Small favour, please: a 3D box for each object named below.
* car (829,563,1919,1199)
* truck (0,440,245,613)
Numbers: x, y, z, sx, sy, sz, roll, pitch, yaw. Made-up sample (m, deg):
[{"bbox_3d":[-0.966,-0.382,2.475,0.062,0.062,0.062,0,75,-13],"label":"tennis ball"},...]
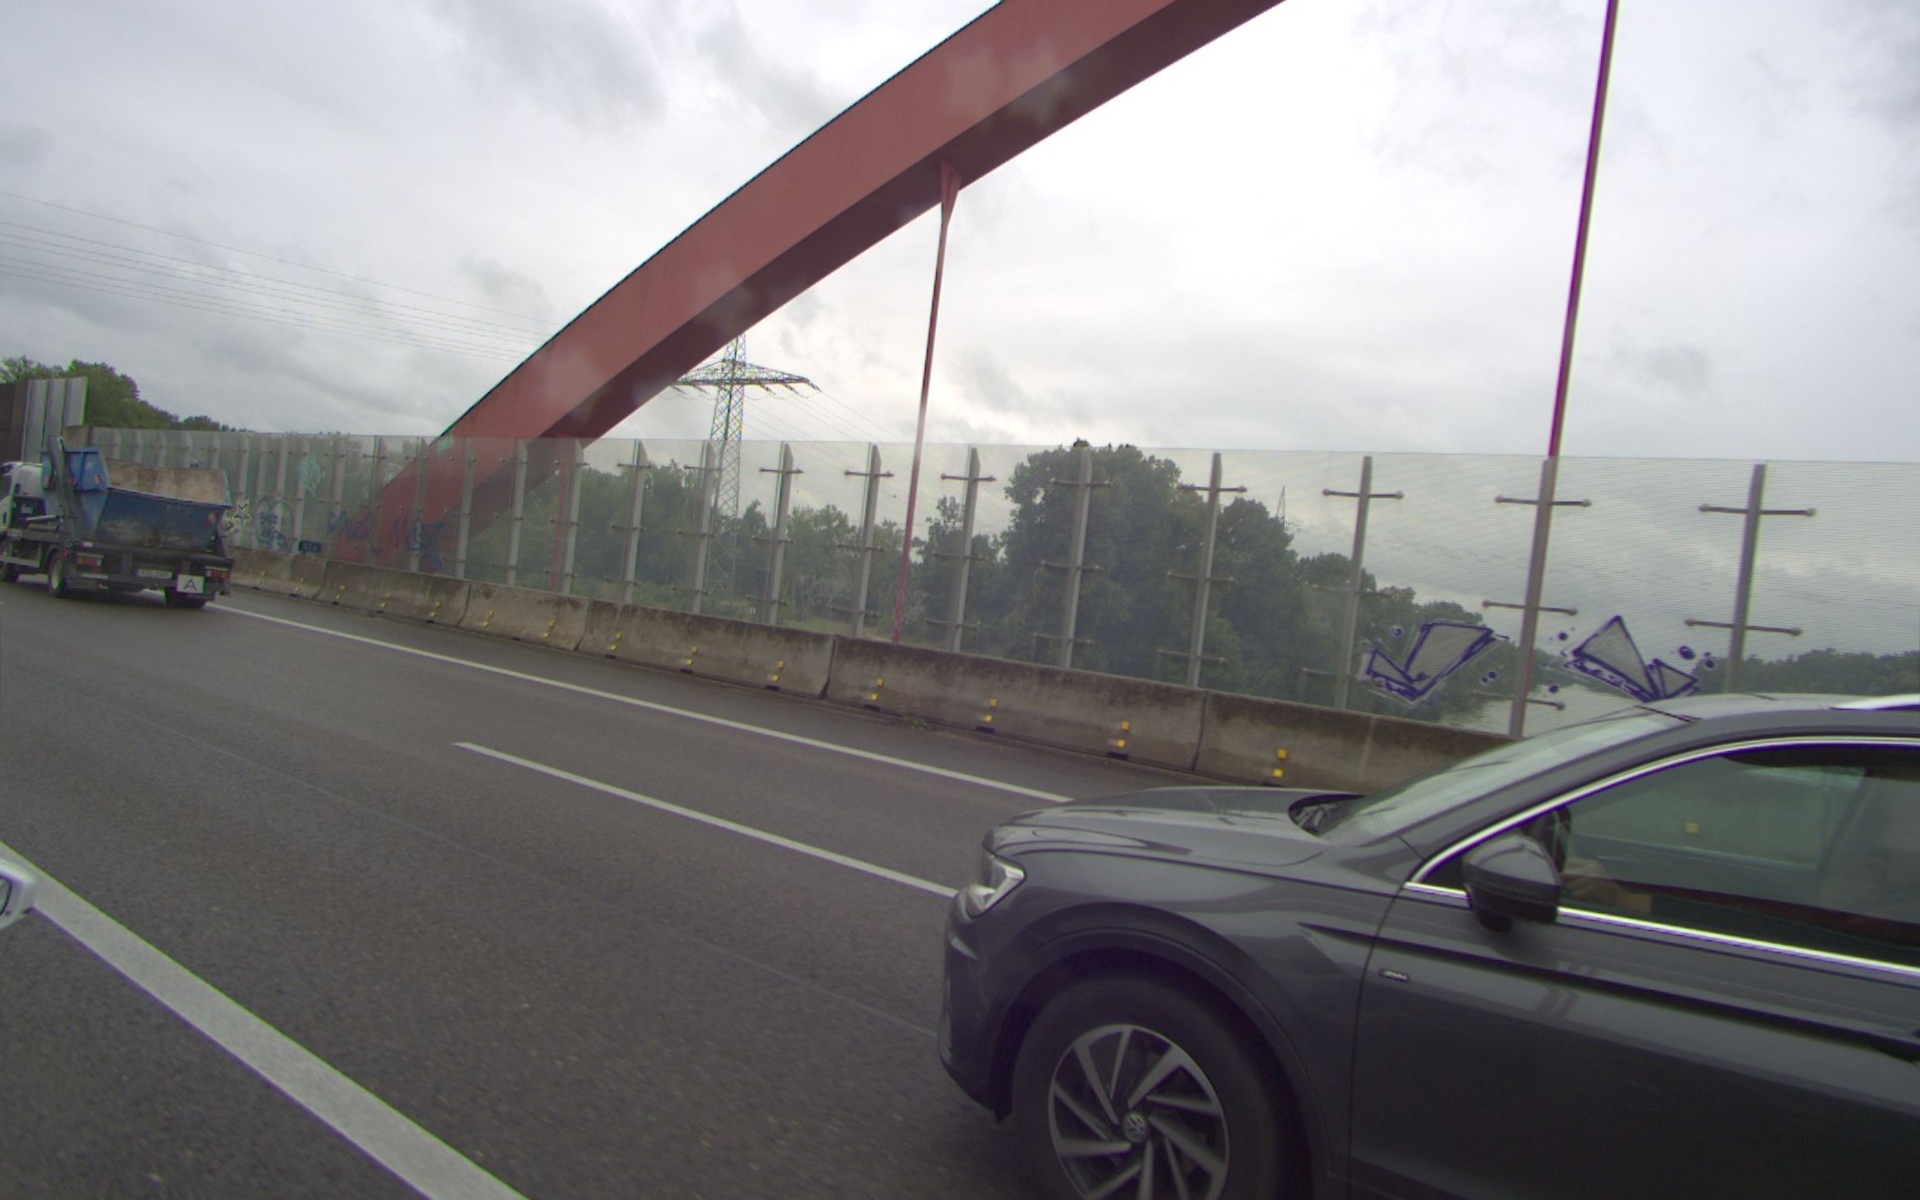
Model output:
[{"bbox_3d":[1.935,1.025,2.556,4.035,1.690,1.915,7,-1,31],"label":"car"},{"bbox_3d":[-15.872,-1.424,18.595,6.049,2.536,2.362,7,-1,36],"label":"truck"}]
